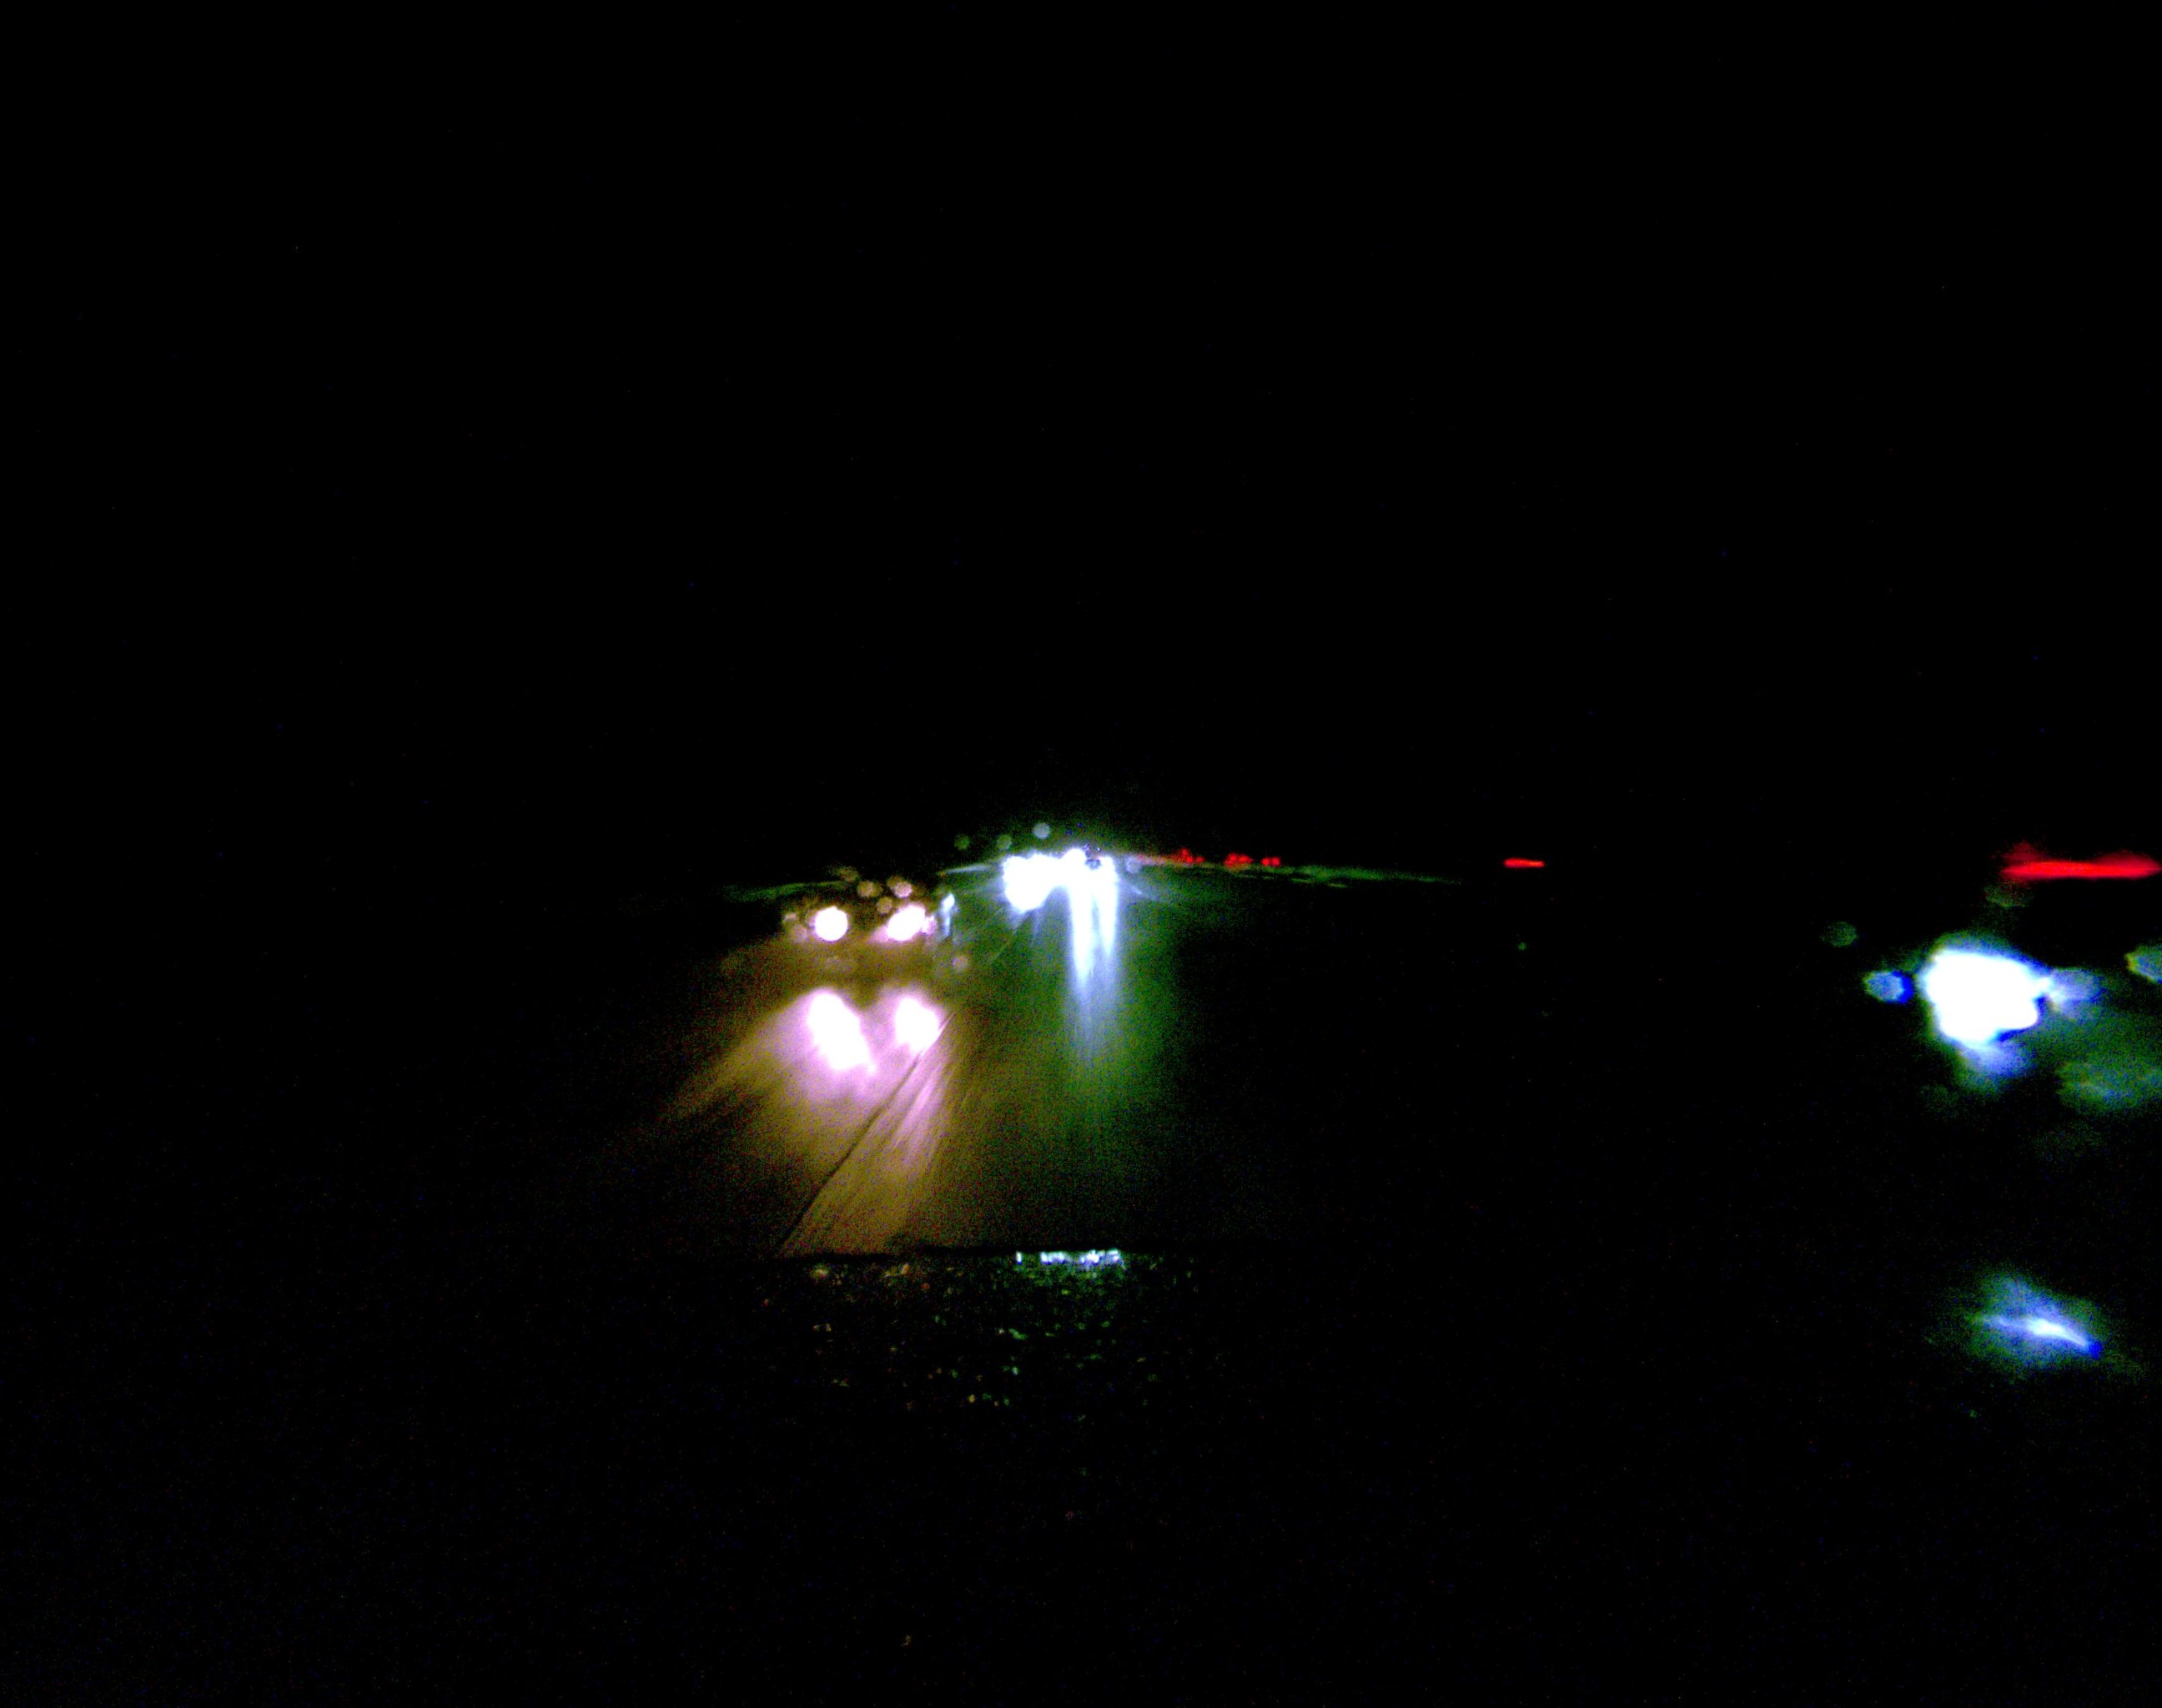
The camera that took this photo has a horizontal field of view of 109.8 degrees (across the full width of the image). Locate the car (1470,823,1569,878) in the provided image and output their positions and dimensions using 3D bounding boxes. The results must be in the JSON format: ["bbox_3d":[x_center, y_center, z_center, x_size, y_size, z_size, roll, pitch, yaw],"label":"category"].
[{"bbox_3d":[20.932,-0.183,36.545,1.974,2.387,4.844,-2,1,1],"label":"car"}]

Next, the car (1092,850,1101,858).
[{"bbox_3d":[3.429,0.040,164.755,1.800,1.728,3.999,-2,1,0],"label":"car"}]

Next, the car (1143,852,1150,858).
[{"bbox_3d":[19.952,0.206,232.143,1.668,1.788,4.756,-2,1,0],"label":"car"}]

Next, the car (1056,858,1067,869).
[{"bbox_3d":[-3.764,1.799,146.147,1.999,1.852,3.999,-2,1,0],"label":"car"}]

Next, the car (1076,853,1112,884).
[{"bbox_3d":[0.724,0.833,45.985,1.960,1.655,4.915,-2,0,0],"label":"car"}]

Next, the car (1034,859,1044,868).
[{"bbox_3d":[-7.892,1.853,143.361,1.755,1.563,3.999,-2,1,0],"label":"car"}]

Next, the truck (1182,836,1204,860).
[{"bbox_3d":[31.332,-1.703,213.689,3.231,6.375,17.300,-2,1,0],"label":"truck"}]

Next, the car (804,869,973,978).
[{"bbox_3d":[-3.084,1.048,13.082,1.774,1.449,4.195,-2,0,0],"label":"car"}]

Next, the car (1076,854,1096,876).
[{"bbox_3d":[0.403,0.940,65.750,1.611,1.775,3.910,-2,1,0],"label":"car"}]

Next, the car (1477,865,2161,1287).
[{"bbox_3d":[4.535,0.842,4.904,1.661,1.422,4.245,-2,0,-1],"label":"car"}]

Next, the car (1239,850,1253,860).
[{"bbox_3d":[31.610,0.189,145.784,1.767,1.663,3.886,-2,1,0],"label":"car"}]

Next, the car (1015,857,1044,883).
[{"bbox_3d":[-3.706,1.132,55.174,1.792,1.681,3.999,-2,1,0],"label":"car"}]

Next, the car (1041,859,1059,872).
[{"bbox_3d":[-4.107,1.525,101.109,1.998,1.589,4.652,-2,1,2],"label":"car"}]

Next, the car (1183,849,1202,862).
[{"bbox_3d":[16.545,0.175,112.829,1.999,1.796,5.164,-2,1,0],"label":"car"}]

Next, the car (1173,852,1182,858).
[{"bbox_3d":[26.691,0.278,210.162,1.680,1.618,4.204,-2,1,0],"label":"car"}]

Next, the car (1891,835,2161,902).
[{"bbox_3d":[24.721,0.334,20.129,1.811,1.509,4.348,-2,1,-1],"label":"car"}]

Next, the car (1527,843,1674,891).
[{"bbox_3d":[17.154,0.383,25.423,1.756,1.386,4.673,-2,1,1],"label":"car"}]

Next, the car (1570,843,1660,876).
[{"bbox_3d":[29.461,0.289,42.110,1.598,1.675,4.546,-3,1,-3],"label":"car"}]

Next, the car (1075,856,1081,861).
[{"bbox_3d":[-0.789,1.340,233.332,1.800,1.598,3.999,-2,1,0],"label":"car"}]

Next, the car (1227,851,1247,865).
[{"bbox_3d":[20.713,0.524,101.128,1.767,1.663,3.886,-2,1,0],"label":"car"}]

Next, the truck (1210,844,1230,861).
[{"bbox_3d":[25.523,-0.348,139.736,2.457,2.982,6.701,-2,1,0],"label":"truck"}]

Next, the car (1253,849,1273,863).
[{"bbox_3d":[24.317,0.238,101.611,1.767,1.663,3.886,-2,1,0],"label":"car"}]
